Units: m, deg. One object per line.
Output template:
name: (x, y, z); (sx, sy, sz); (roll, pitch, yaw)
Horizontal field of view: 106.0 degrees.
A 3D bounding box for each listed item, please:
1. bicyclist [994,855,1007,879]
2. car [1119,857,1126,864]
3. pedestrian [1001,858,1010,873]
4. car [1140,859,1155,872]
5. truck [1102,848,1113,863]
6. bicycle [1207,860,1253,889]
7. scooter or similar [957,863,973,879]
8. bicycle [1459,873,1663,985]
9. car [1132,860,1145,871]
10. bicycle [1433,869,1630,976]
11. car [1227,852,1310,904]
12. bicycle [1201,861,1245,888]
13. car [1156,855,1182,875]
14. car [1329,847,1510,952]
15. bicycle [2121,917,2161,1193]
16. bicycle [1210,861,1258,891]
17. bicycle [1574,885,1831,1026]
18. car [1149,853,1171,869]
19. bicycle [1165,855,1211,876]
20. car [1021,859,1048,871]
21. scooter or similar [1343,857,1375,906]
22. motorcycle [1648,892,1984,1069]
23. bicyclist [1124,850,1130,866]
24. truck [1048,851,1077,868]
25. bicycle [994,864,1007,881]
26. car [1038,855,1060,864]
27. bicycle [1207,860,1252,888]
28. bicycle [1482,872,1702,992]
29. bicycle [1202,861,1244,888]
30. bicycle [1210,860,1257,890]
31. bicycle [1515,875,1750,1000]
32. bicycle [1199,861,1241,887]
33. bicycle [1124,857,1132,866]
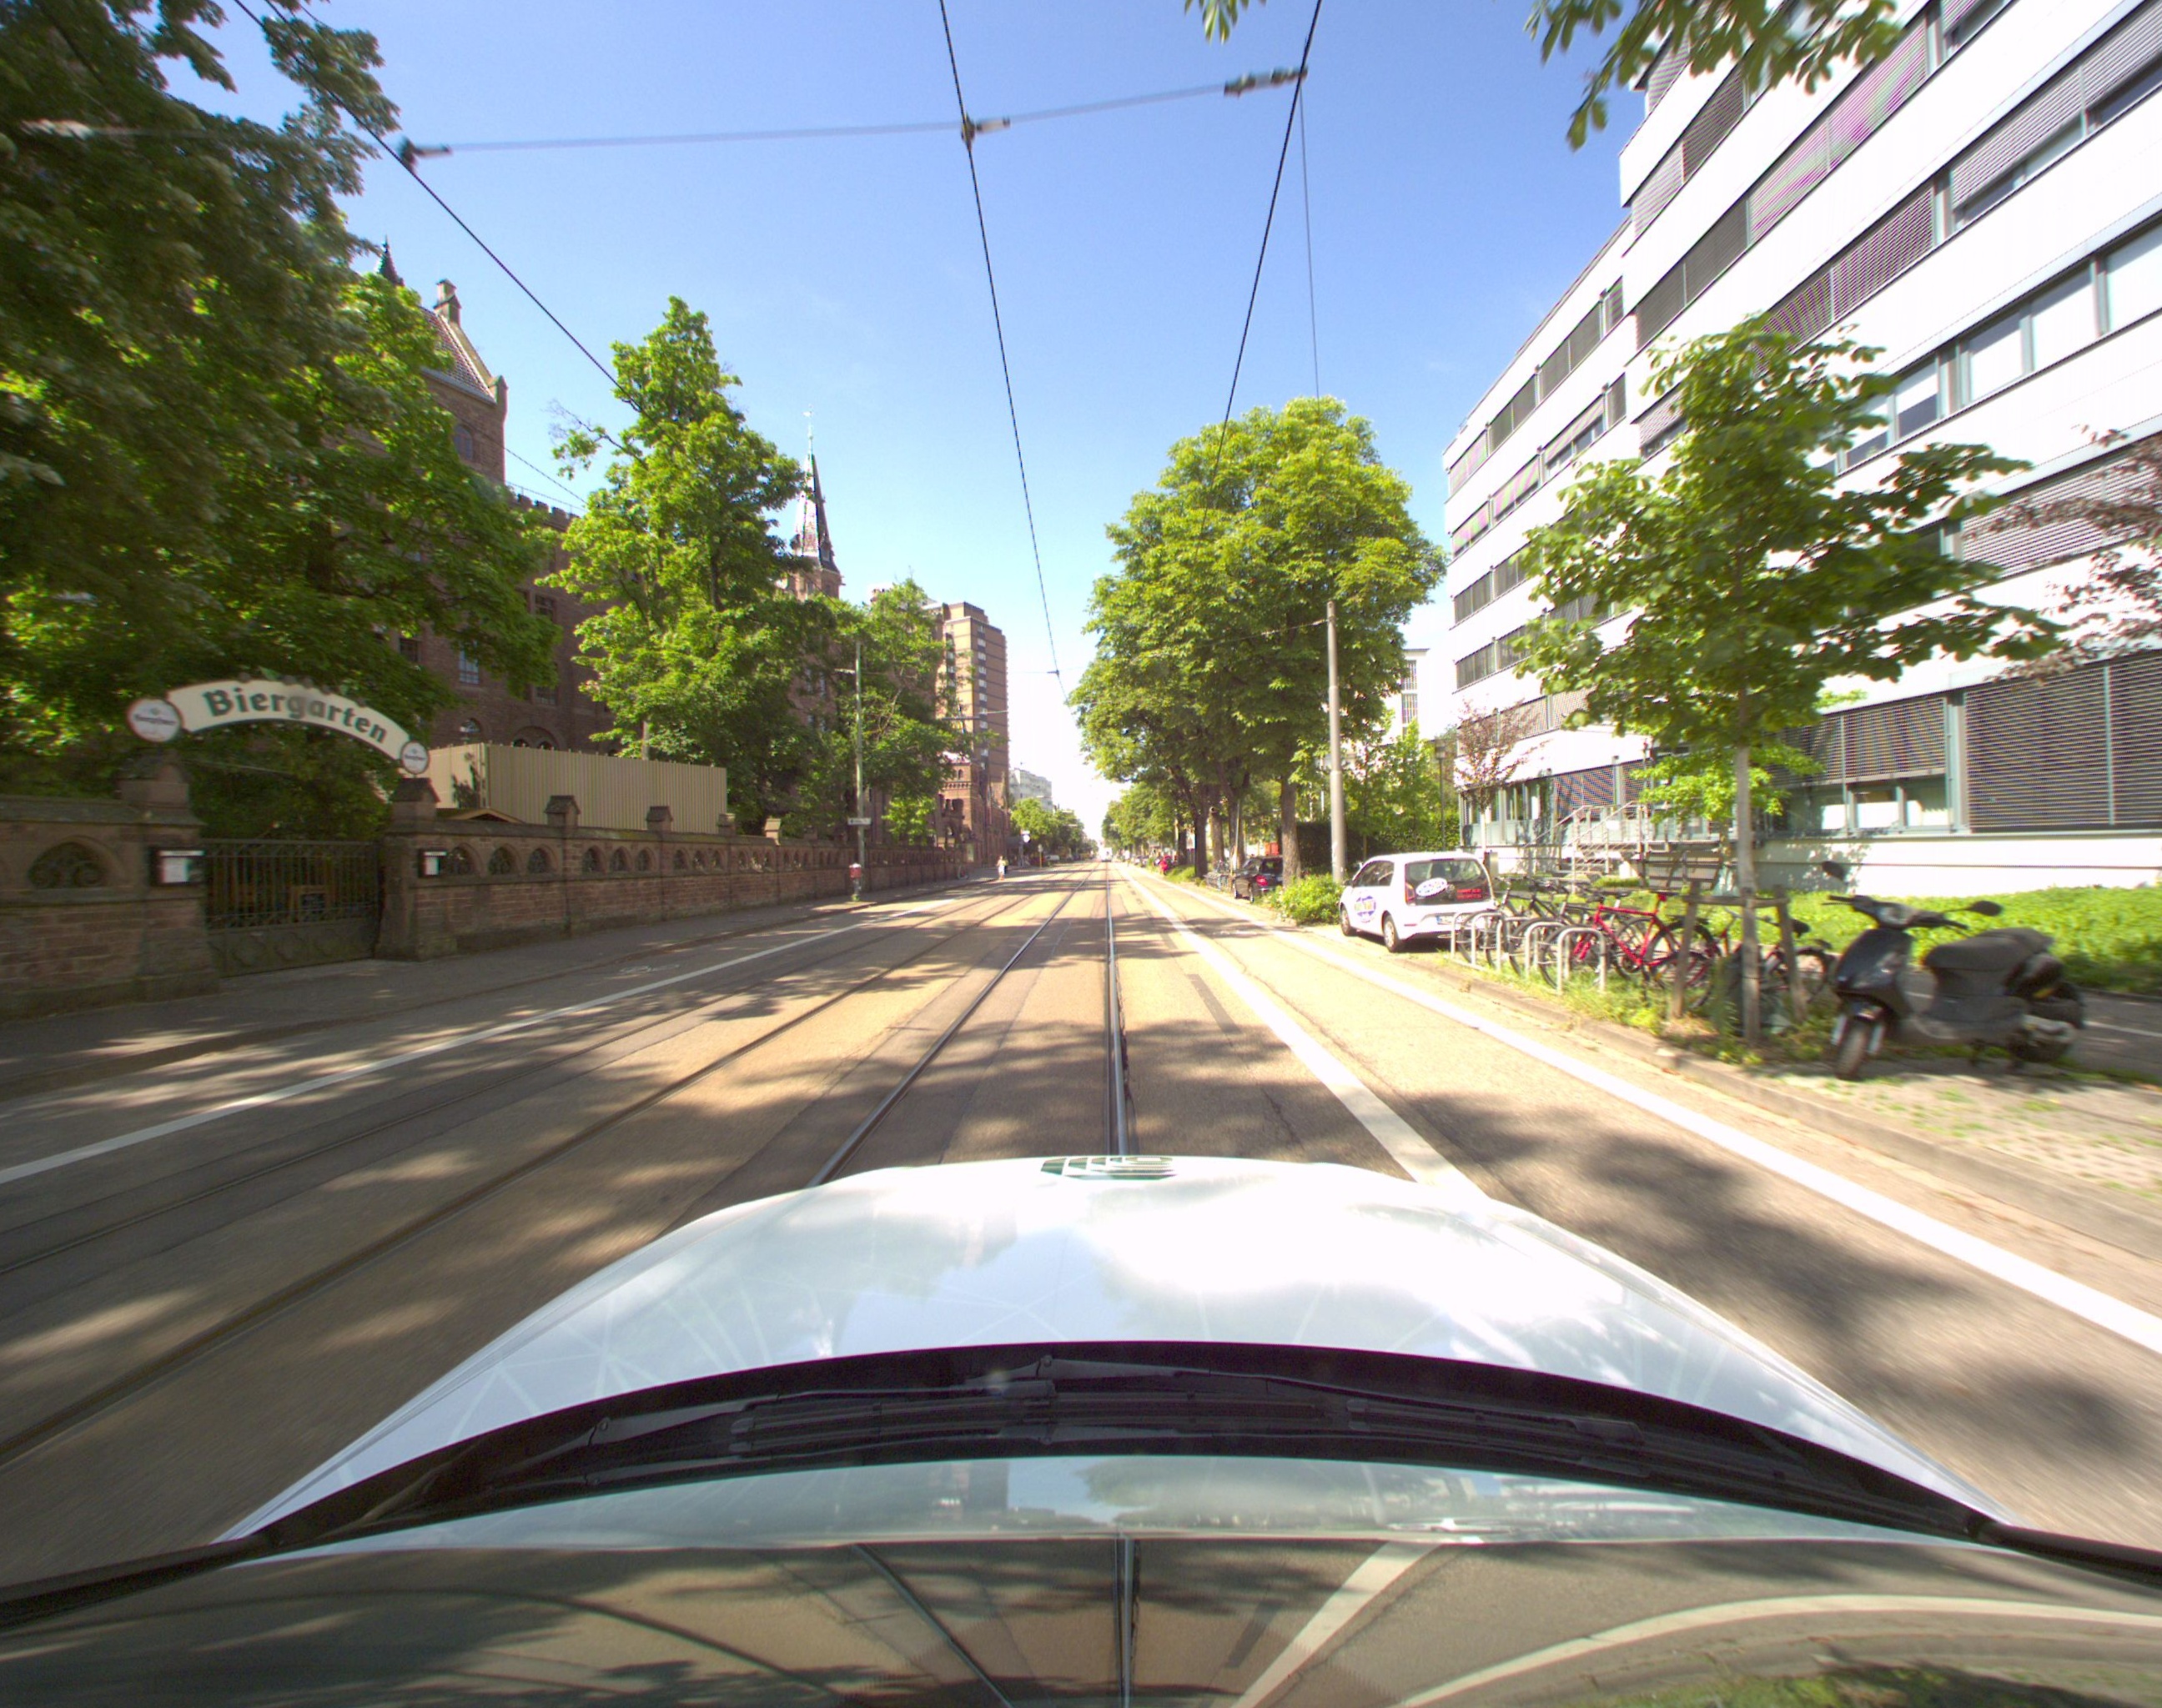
bicyclist: (-5.842, 0.934, 59.285); (0.722, 1.698, 1.147); (-2, -1, 1)
car: (10.222, 1.631, 201.110); (1.623, 1.569, 4.115); (-2, 0, 2)
pedestrian: (-7.524, 1.142, 81.223); (0.882, 1.512, 1.472); (-2, -1, -7)
car: (7.832, 1.296, 96.337); (1.623, 1.472, 4.115); (-2, 0, 2)
truck: (5.576, 0.287, 171.726); (2.393, 3.109, 6.039); (-1, 0, 2)
bicycle: (5.986, 0.818, 32.740); (1.718, 1.086, 0.570); (-2, -1, 1)
scooter or similar: (-8.182, 1.183, 57.507); (0.329, 1.129, 1.194); (-2, -1, 41)
bicycle: (5.371, 0.820, 9.192); (1.866, 1.141, 0.686); (-2, -1, 1)
car: (8.069, 1.647, 114.230); (1.623, 1.472, 4.115); (-2, 0, 2)
bicycle: (5.395, 0.802, 9.839); (1.897, 1.169, 0.819); (-2, -1, 1)
car: (5.848, 0.704, 25.836); (1.625, 1.483, 4.272); (-2, 0, 0)
bicycle: (6.002, 0.861, 34.388); (1.718, 1.086, 0.615); (-2, -1, 1)
car: (6.998, 0.877, 64.800); (1.625, 1.472, 3.718); (-2, 0, 0)
car: (5.439, 0.679, 13.580); (1.623, 1.472, 3.633); (-2, -1, 3)
bicycle: (5.136, 0.777, 2.937); (1.718, 1.086, 0.789); (-2, -1, 1)
bicycle: (5.886, 0.842, 31.442); (1.718, 1.086, 0.629); (-2, -1, 1)
bicycle: (5.364, 0.858, 7.097); (1.718, 1.086, 0.640); (-2, -1, 1)
car: (7.188, 0.614, 74.661); (1.625, 1.355, 3.901); (-2, 0, 0)
bicycle: (7.308, 0.788, 55.714); (3.014, 1.332, 1.042); (-2, -1, 4)
car: (-7.521, 1.763, 132.505); (4.017, 1.810, 1.869); (-1, -1, -36)
scooter or similar: (6.852, 0.659, 20.078); (0.400, 1.173, 1.158); (-2, -1, 2)
motorcycle: (5.076, 0.850, 5.699); (1.718, 1.086, 0.659); (-2, -1, 1)
bicyclist: (5.704, 0.491, 100.011); (0.633, 1.871, 1.024); (-2, -1, 1)
truck: (-4.347, 1.299, 194.266); (2.788, 3.859, 10.056); (-2, -1, 24)
bicycle: (-5.837, 1.355, 59.357); (0.660, 1.154, 2.015); (-2, -1, 2)
car: (-6.506, 1.080, 165.539); (4.011, 1.750, 1.981); (-1, -1, -29)
bicycle: (6.061, 0.821, 33.334); (1.718, 1.086, 0.589); (-2, -1, 1)
bicycle: (5.297, 0.789, 8.515); (1.842, 1.132, 0.680); (-2, -1, 1)
bicycle: (6.091, 0.864, 34.946); (1.718, 1.086, 0.478); (-2, -1, 0)
bicycle: (6.011, 0.825, 32.099); (1.718, 1.086, 0.697); (-2, -1, 1)
bicycle: (5.353, 0.791, 7.985); (1.786, 1.086, 0.726); (-2, -1, 1)
bicycle: (6.040, 0.861, 35.431); (1.718, 1.086, 0.478); (-2, -1, 0)
bicycle: (5.716, 0.933, 99.727); (0.852, 1.110, 2.140); (-2, 0, 1)
